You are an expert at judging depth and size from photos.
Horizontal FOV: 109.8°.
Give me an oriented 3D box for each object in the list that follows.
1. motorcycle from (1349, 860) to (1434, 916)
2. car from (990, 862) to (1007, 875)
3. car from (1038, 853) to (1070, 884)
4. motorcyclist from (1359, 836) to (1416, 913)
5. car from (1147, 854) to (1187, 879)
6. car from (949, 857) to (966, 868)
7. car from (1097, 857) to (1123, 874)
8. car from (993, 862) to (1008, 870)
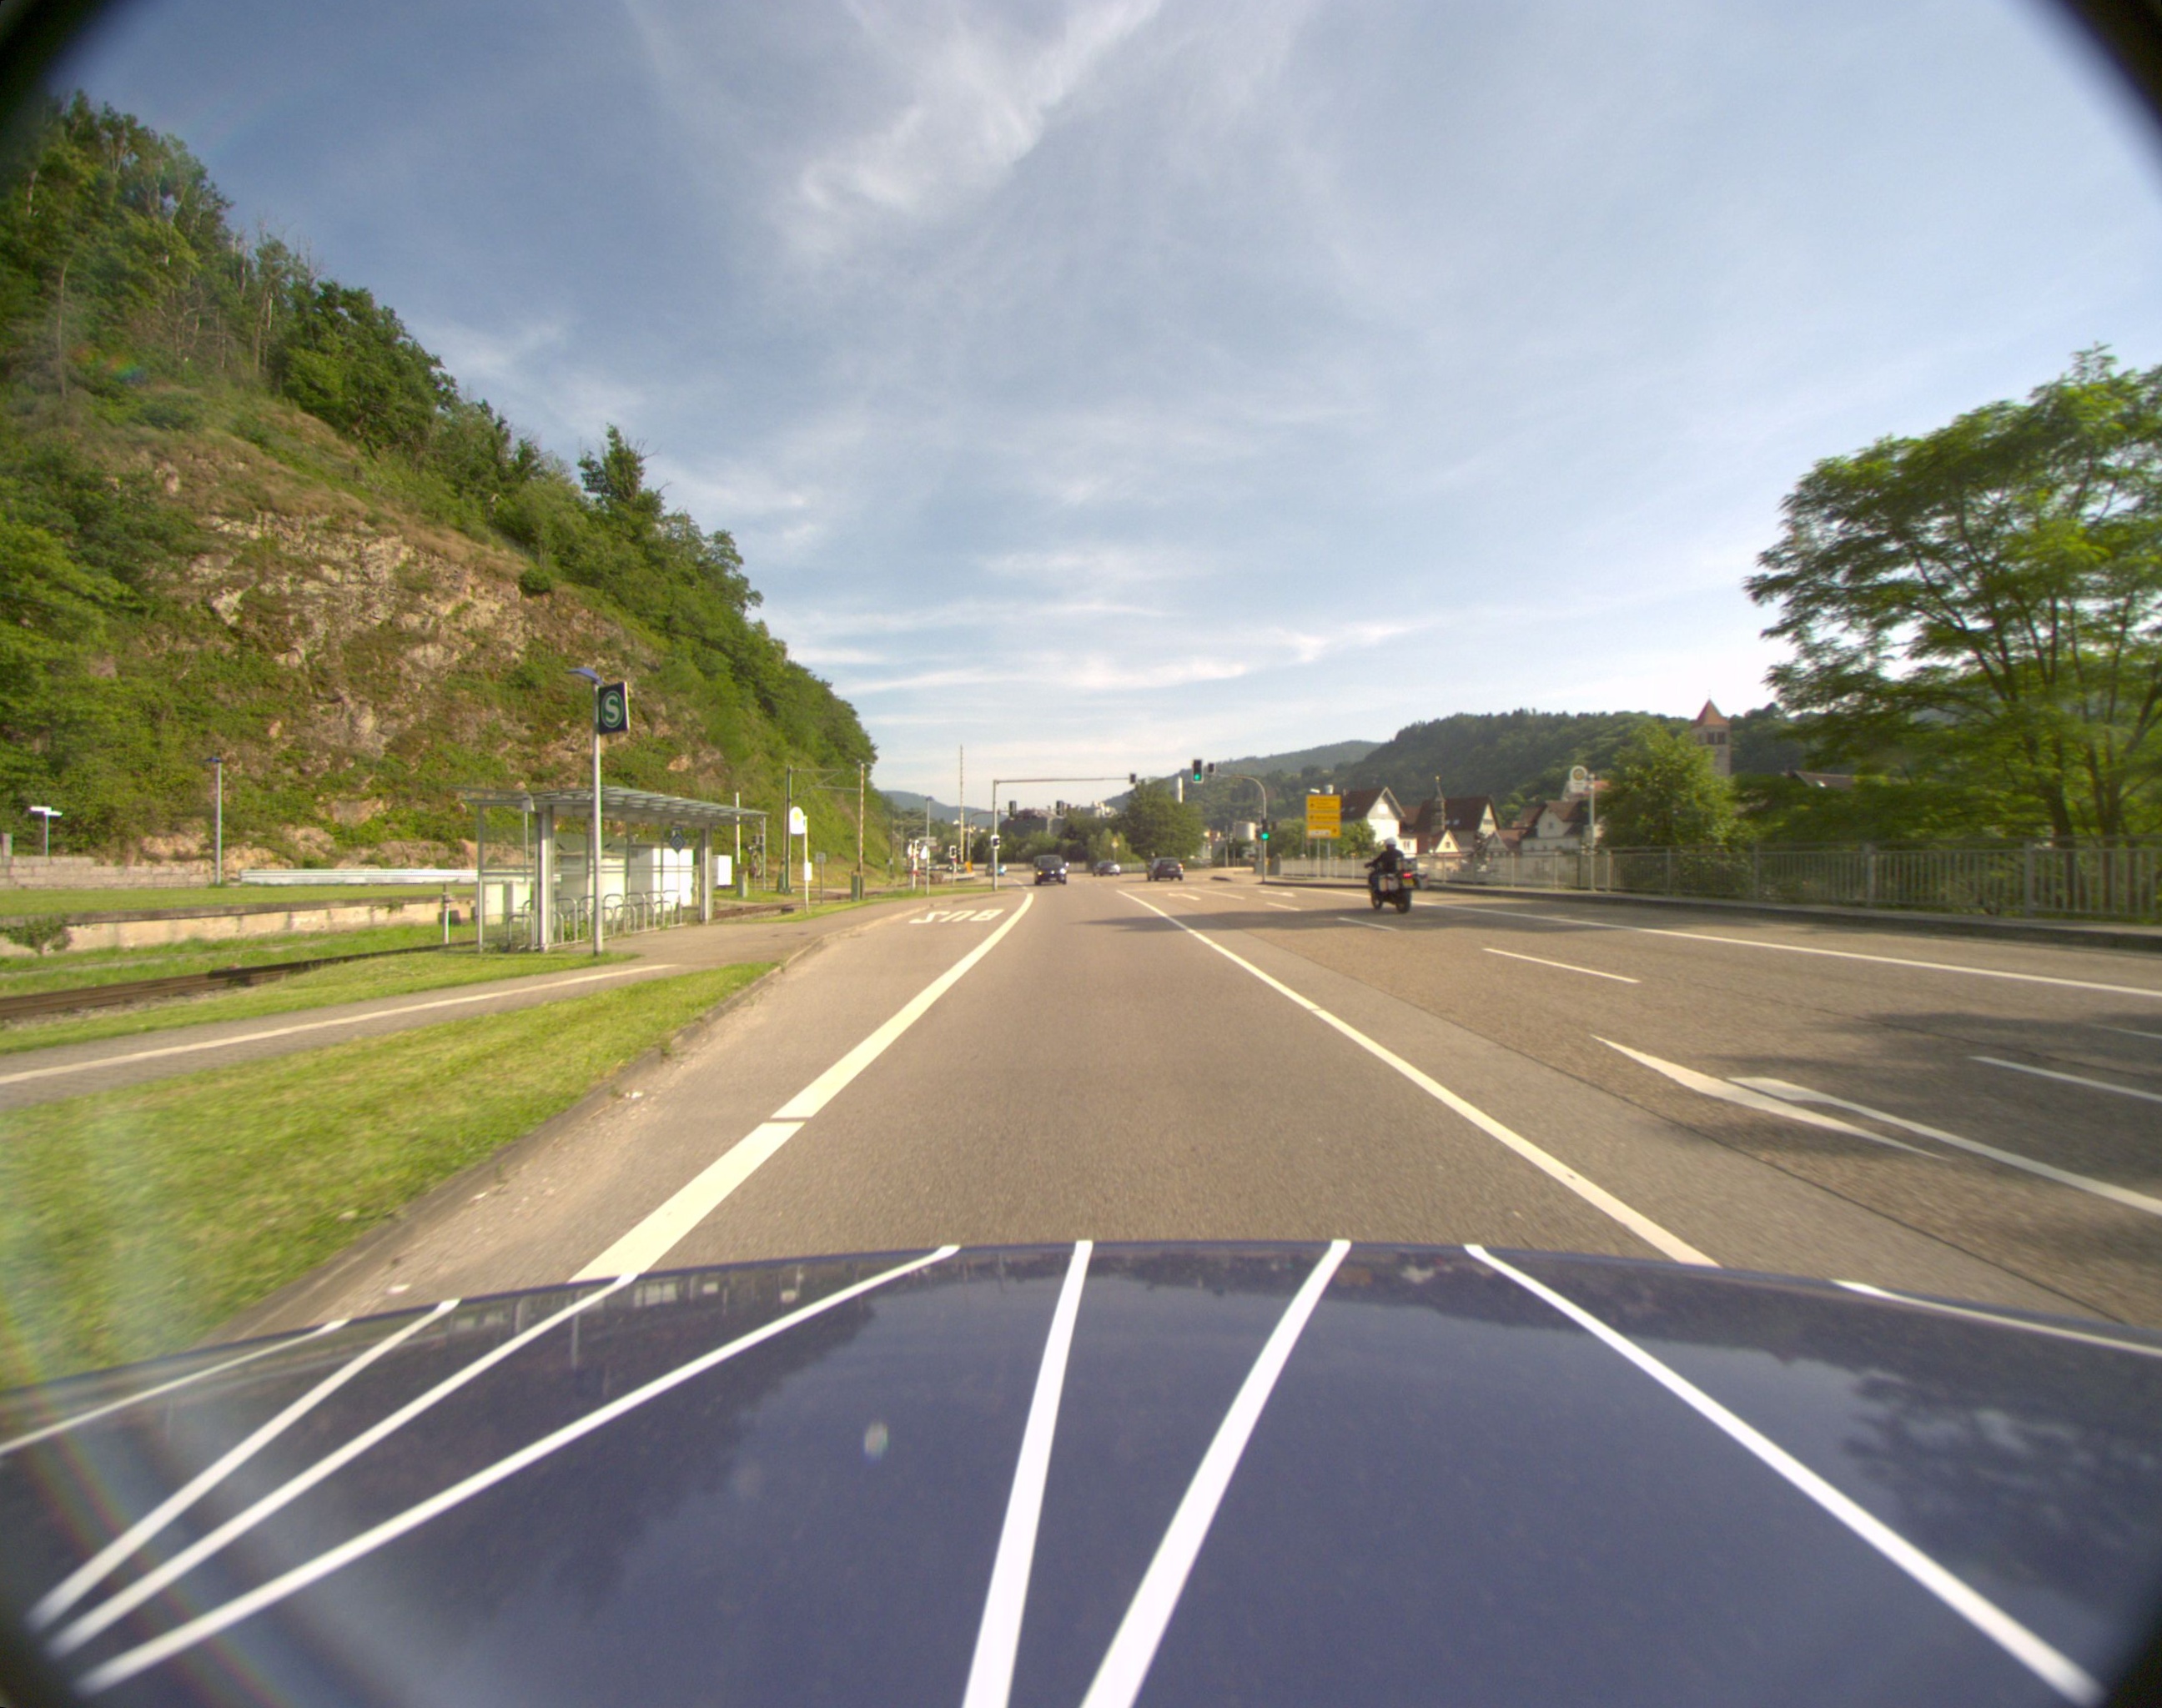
[{"bbox_3d":[7.395,0.770,18.261,0.975,1.214,2.572,-2,0,1],"label":"motorcycle"},{"bbox_3d":[-9.938,1.689,91.446,1.769,1.452,3.573,0,1,-9],"label":"car"},{"bbox_3d":[-1.835,0.951,50.435,1.909,1.868,4.347,-4,0,-3],"label":"car"},{"bbox_3d":[7.385,0.485,18.347,0.847,1.774,1.171,-2,0,0],"label":"motorcyclist"},{"bbox_3d":[5.521,0.787,49.277,1.790,1.470,4.752,-1,0,-3],"label":"car"},{"bbox_3d":[-20.382,1.423,125.697,2.002,1.783,3.993,-1,0,-20],"label":"car"},{"bbox_3d":[2.649,1.046,69.765,1.776,1.369,4.642,-3,0,-5],"label":"car"},{"bbox_3d":[-12.698,1.864,119.727,1.652,1.224,4.088,-2,0,-17],"label":"car"}]
